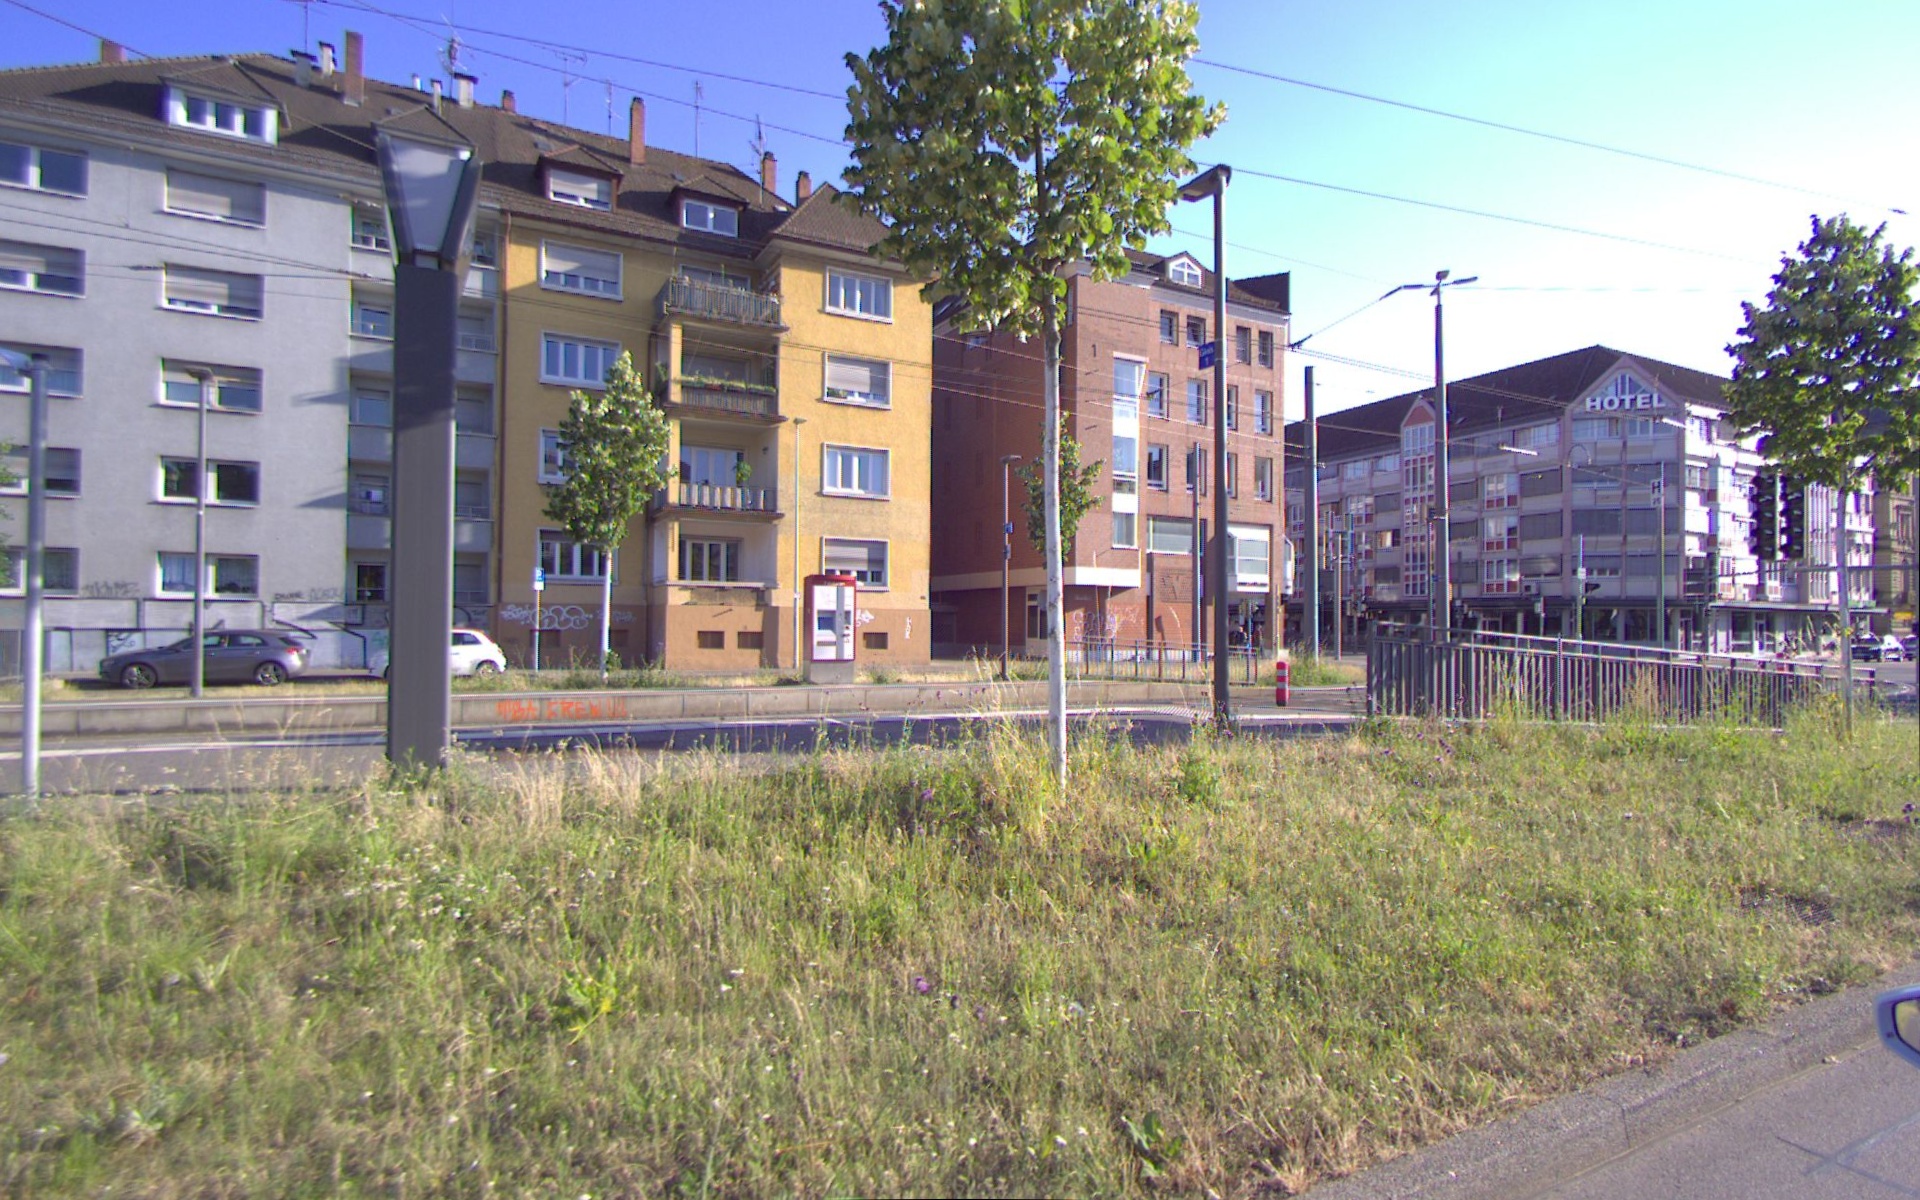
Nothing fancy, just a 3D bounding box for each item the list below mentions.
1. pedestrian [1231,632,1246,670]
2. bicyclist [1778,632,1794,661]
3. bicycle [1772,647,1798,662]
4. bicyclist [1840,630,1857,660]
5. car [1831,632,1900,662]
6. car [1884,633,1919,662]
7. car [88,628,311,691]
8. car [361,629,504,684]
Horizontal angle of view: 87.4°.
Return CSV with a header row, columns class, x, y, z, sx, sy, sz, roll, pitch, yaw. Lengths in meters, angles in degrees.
class,x,y,z,sx,sy,sz,roll,pitch,yaw
pedestrian,13.412,2.448,48.379,0.532,1.831,0.502,0,-1,-1
bicyclist,53.191,2.996,64.685,0.634,1.886,0.591,1,-2,-27
bicycle,53.077,3.476,64.618,1.813,0.927,0.596,1,-2,-28
bicyclist,60.279,3.064,68.122,0.769,2.040,0.601,1,-1,-26
car,58.022,2.974,64.362,3.948,1.884,1.987,1,-2,-27
car,64.914,3.190,68.163,3.948,1.884,1.987,1,-2,-27
car,-19.671,1.503,26.275,4.379,1.528,1.985,1,-2,-30
car,-15.126,1.590,28.886,3.510,1.505,1.739,1,-2,-30
